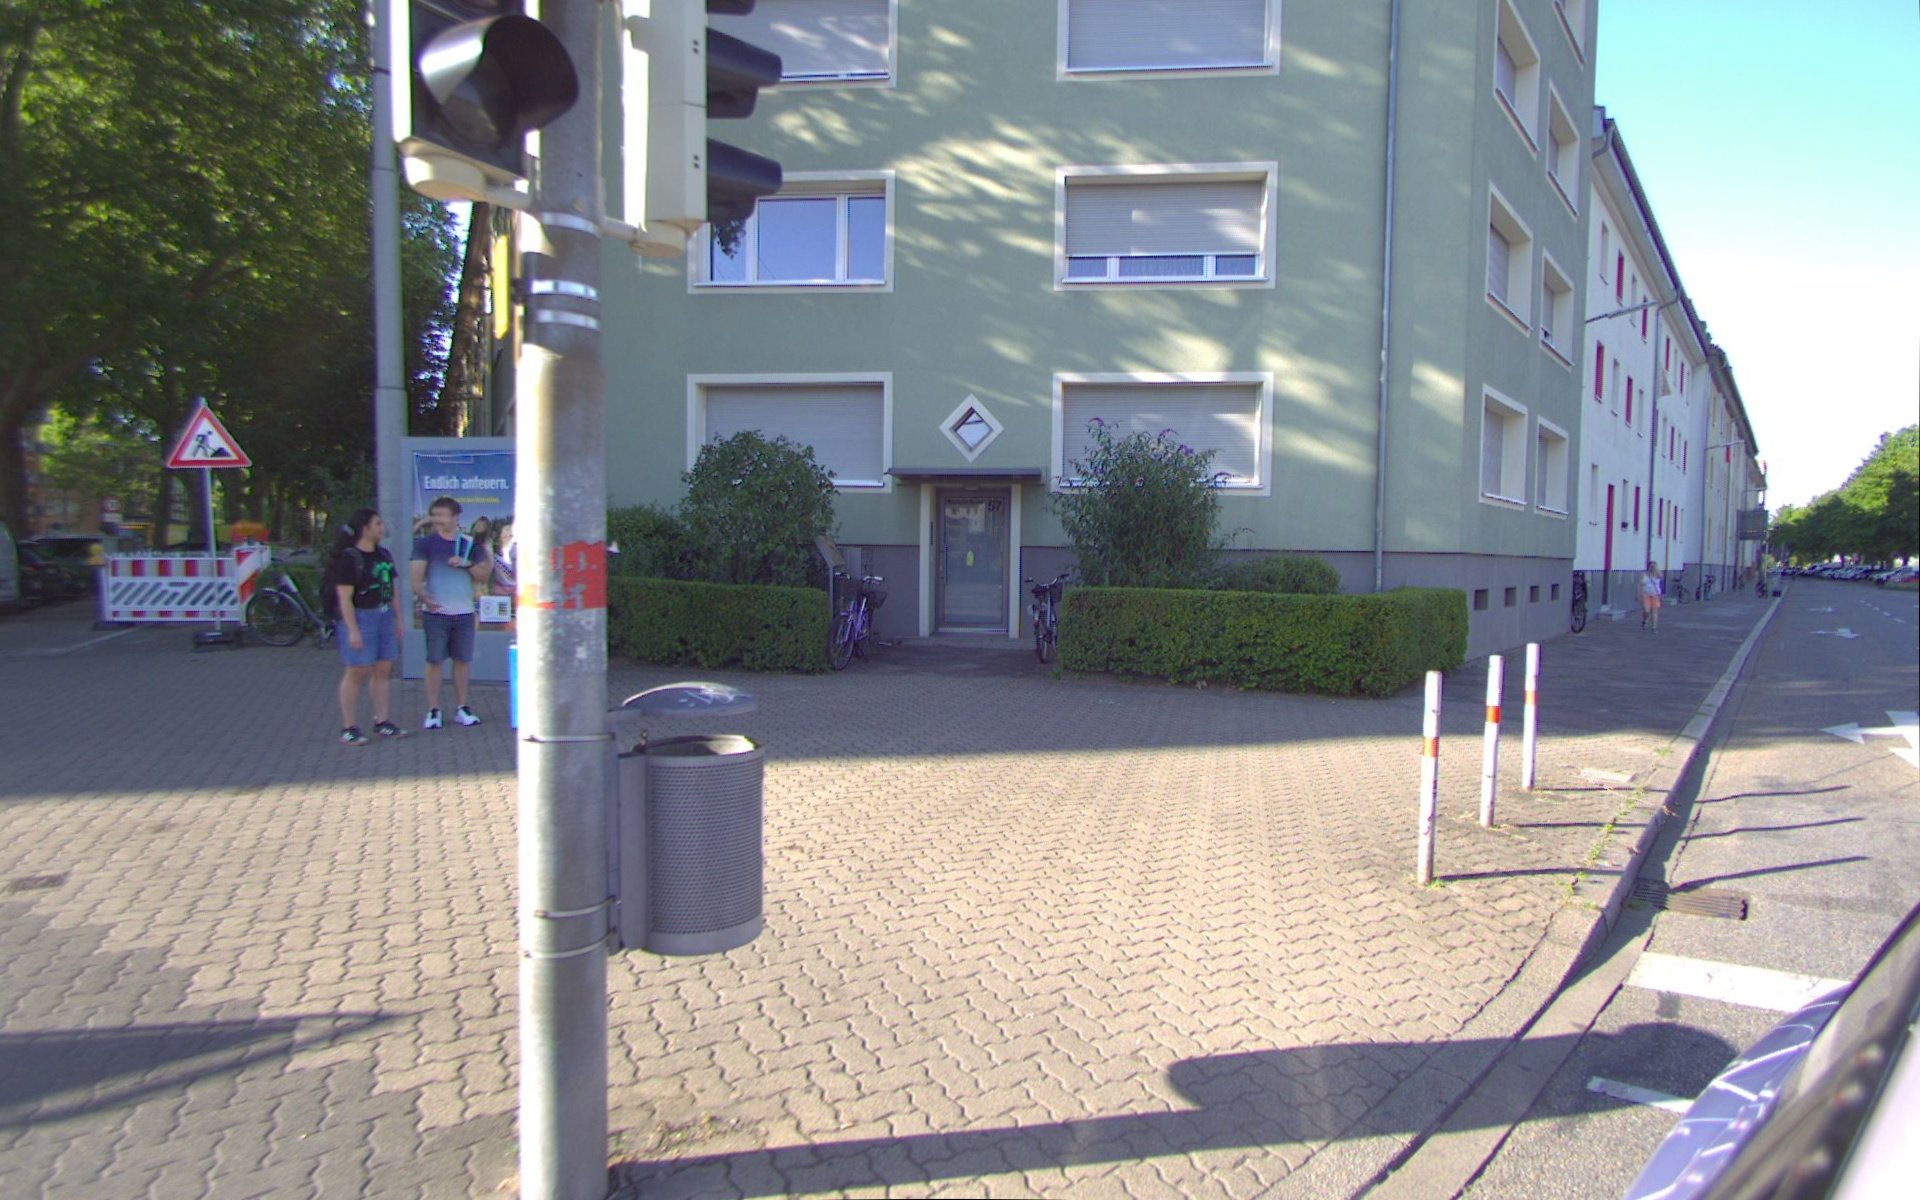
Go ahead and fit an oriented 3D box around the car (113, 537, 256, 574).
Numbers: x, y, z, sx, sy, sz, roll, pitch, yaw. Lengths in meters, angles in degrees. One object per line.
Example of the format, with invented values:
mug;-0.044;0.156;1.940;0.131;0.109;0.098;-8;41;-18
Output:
car;-33.218;-1.919;43.523;4.634;1.552;1.922;-1;3;-31

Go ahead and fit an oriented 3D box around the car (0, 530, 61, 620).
car;-19.305;-0.467;18.185;4.331;1.621;1.946;-1;3;-27

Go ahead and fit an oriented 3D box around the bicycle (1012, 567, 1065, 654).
bicycle;1.005;0.102;13.235;0.634;1.014;1.848;1;3;3

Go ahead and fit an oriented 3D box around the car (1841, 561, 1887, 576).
car;108.720;-3.832;121.744;3.981;1.739;1.973;2;3;39

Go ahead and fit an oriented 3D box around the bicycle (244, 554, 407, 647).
bicycle;-7.659;-0.018;12.220;1.906;1.070;0.519;1;2;16

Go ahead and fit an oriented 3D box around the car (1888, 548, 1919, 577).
car;83.757;-3.313;87.257;5.300;2.442;2.234;-2;0;40

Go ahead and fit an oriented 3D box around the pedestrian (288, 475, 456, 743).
pedestrian;-4.145;0.041;7.163;0.785;1.772;0.688;1;2;22

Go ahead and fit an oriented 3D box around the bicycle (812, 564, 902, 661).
bicycle;-1.218;0.109;12.355;0.513;1.070;1.927;1;3;13

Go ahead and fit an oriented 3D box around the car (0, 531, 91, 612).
car;-20.734;-0.582;20.311;4.632;1.621;1.923;-1;3;-28

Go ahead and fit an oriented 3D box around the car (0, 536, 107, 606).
car;-22.223;-0.667;22.623;4.509;1.524;1.922;-1;3;-31

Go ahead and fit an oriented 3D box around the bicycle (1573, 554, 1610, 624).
bicycle;13.510;-0.263;21.639;0.515;1.429;1.849;2;3;36

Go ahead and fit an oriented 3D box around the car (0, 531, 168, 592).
car;-25.282;-1.094;28.299;4.632;1.621;1.923;-1;3;-28

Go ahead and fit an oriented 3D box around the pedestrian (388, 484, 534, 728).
pedestrian;-3.847;0.022;7.824;0.788;1.772;0.686;2;2;30

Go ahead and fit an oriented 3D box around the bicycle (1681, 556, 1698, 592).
bicycle;29.830;-1.064;41.399;0.515;1.429;1.849;2;3;36

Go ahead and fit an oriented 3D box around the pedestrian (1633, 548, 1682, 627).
pedestrian;15.739;-0.301;22.846;0.784;1.727;0.936;3;3;40

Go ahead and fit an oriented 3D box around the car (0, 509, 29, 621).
car;-18.224;-0.487;15.737;5.133;1.848;1.933;-3;3;-29

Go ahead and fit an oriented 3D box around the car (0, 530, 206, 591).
car;-25.942;-1.232;30.719;4.632;1.743;1.923;-1;3;-28

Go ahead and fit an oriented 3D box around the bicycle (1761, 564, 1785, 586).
bicycle;41.409;-1.295;51.570;0.646;1.110;2.179;2;3;31

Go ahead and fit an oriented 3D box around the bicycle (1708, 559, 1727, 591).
bicycle;33.457;-1.122;44.698;0.516;1.341;2.178;2;3;41

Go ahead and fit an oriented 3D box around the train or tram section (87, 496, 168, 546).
train or tram section;-67.414;-6.269;82.261;2.813;3.682;13.217;-1;3;-30

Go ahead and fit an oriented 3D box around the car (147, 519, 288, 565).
car;-40.232;-3.136;55.049;5.844;2.394;2.065;-1;3;-27
